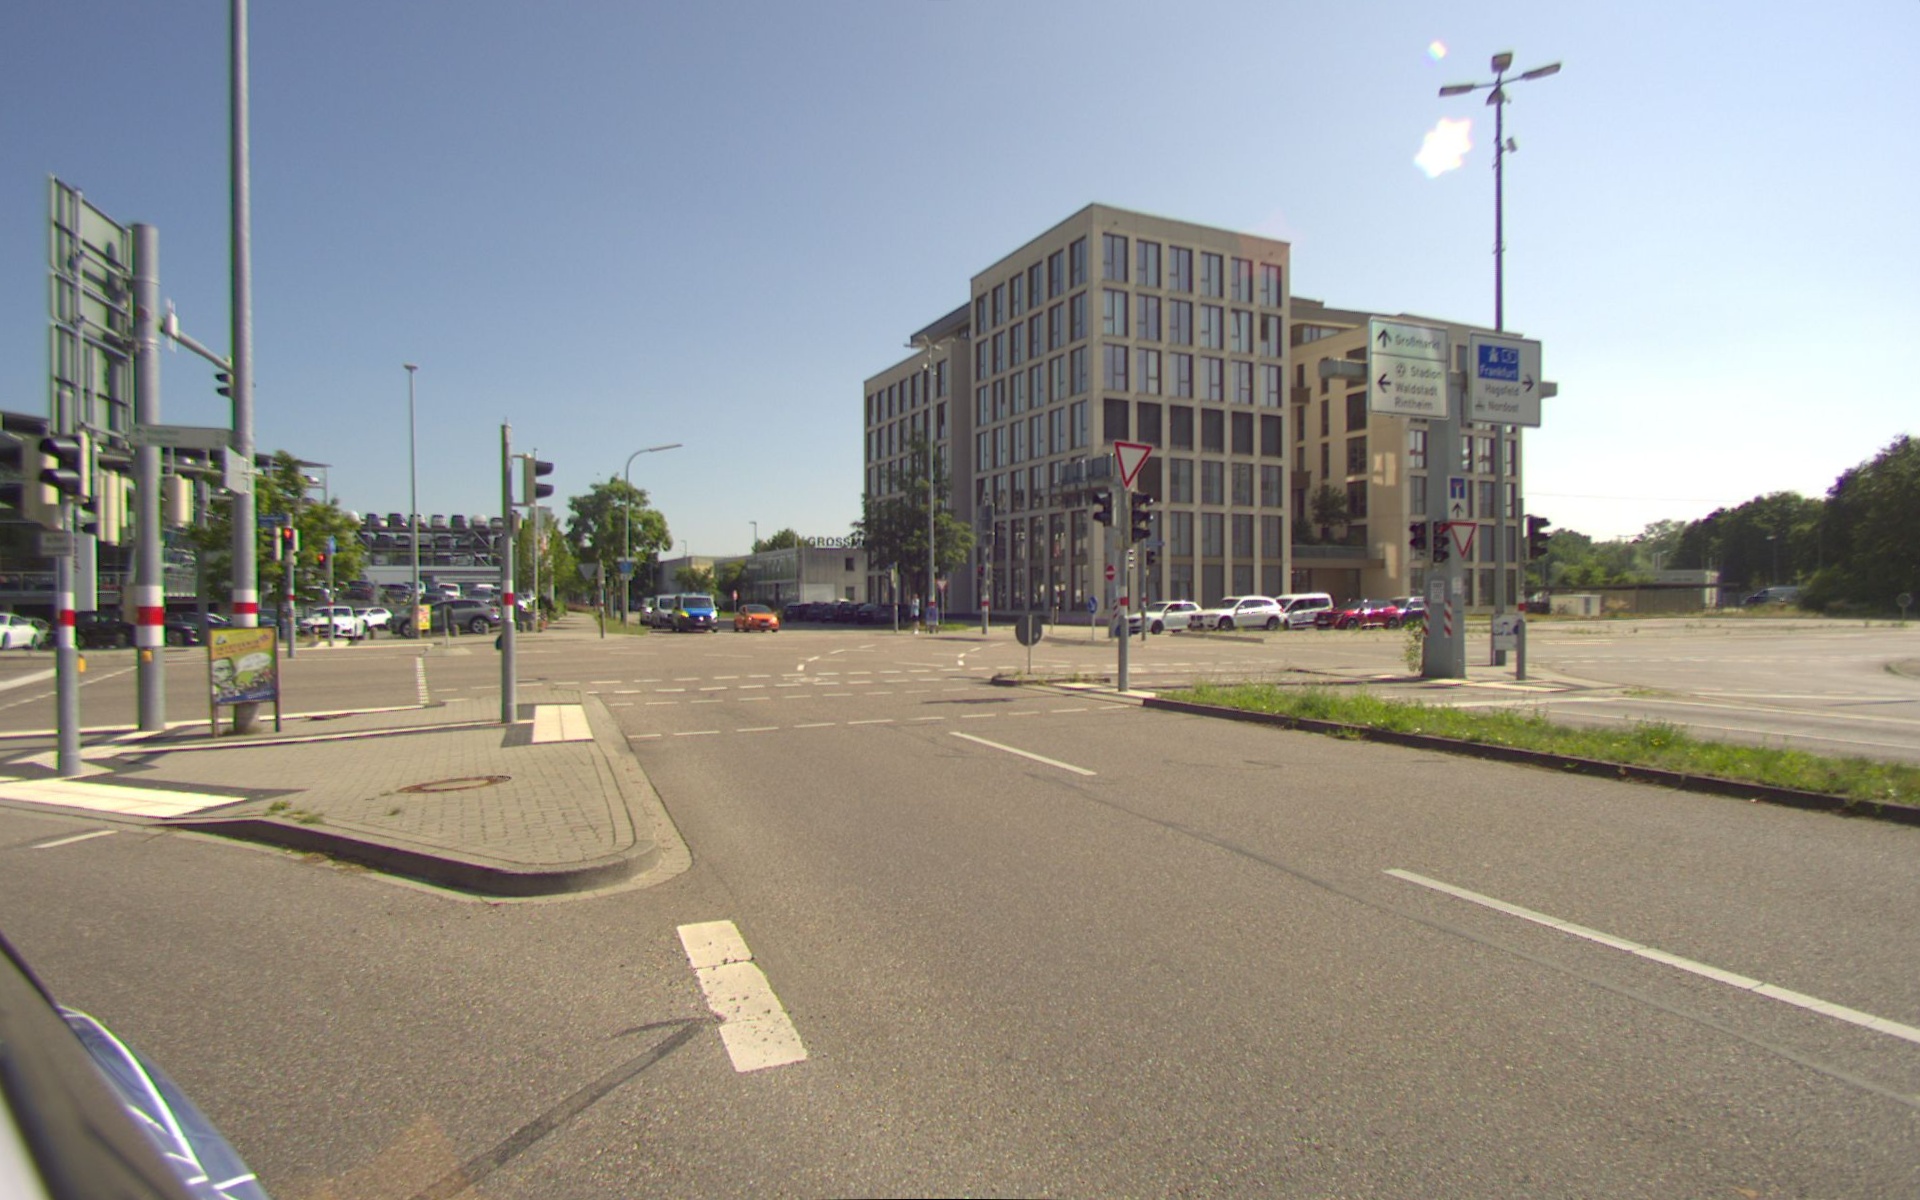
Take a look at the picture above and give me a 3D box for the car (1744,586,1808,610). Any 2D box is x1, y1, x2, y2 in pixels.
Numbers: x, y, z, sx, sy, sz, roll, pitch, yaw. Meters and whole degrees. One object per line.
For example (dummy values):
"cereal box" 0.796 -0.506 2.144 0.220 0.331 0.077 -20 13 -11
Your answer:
"car" 83.603 -0.189 103.692 5.045 2.352 1.973 0 0 41

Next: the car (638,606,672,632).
"car" -19.297 1.160 63.923 1.882 1.504 3.877 -1 0 -18

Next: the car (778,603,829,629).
"car" -12.554 1.294 81.252 3.940 2.029 2.002 0 -1 -4

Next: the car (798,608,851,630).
"car" -10.557 1.467 79.033 3.940 1.627 2.002 0 -1 -4

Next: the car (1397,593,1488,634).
"car" 24.122 0.646 50.603 4.170 1.903 1.841 -1 0 -24

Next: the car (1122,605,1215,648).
"car" 9.189 1.127 44.578 3.702 1.725 1.840 -1 0 -31

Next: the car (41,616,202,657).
"car" -30.738 1.316 37.275 4.276 1.360 1.827 0 -1 -27

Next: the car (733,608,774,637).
"car" -10.609 1.142 51.765 1.710 1.374 3.877 -1 -1 -17

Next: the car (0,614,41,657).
"car" -33.755 1.215 34.873 1.970 1.432 4.127 0 -1 -25

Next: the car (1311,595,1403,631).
"car" 17.807 0.574 45.398 4.049 1.539 1.536 -1 -1 -27

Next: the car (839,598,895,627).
"car" -6.665 0.869 72.547 3.940 2.029 2.002 0 -1 -4

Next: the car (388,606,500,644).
"car" -23.116 1.084 45.539 4.404 1.599 1.986 -1 -1 -24

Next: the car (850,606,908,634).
"car" -5.536 1.335 69.303 3.940 1.841 2.002 0 -1 -4

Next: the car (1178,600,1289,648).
"car" 11.450 0.968 42.309 4.238 1.851 2.033 -1 0 -29

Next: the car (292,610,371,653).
"car" -24.551 1.190 39.675 1.856 1.472 4.013 -1 0 -20

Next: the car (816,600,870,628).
"car" -8.671 1.064 75.369 3.940 2.029 2.002 0 -1 -4

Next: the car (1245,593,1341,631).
"car" 15.737 0.549 47.792 4.158 1.724 1.910 -1 -1 -27

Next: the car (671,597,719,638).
"car" -13.380 0.865 50.855 2.150 1.923 4.744 -1 -1 -17

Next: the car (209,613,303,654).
"car" -26.668 1.240 38.504 1.965 1.472 4.013 -1 -1 -20

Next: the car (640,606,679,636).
"car" -16.800 1.158 56.534 1.639 1.568 3.868 -1 0 -23

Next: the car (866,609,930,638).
"car" -4.074 1.526 66.434 3.935 1.751 2.005 -1 1 -10
